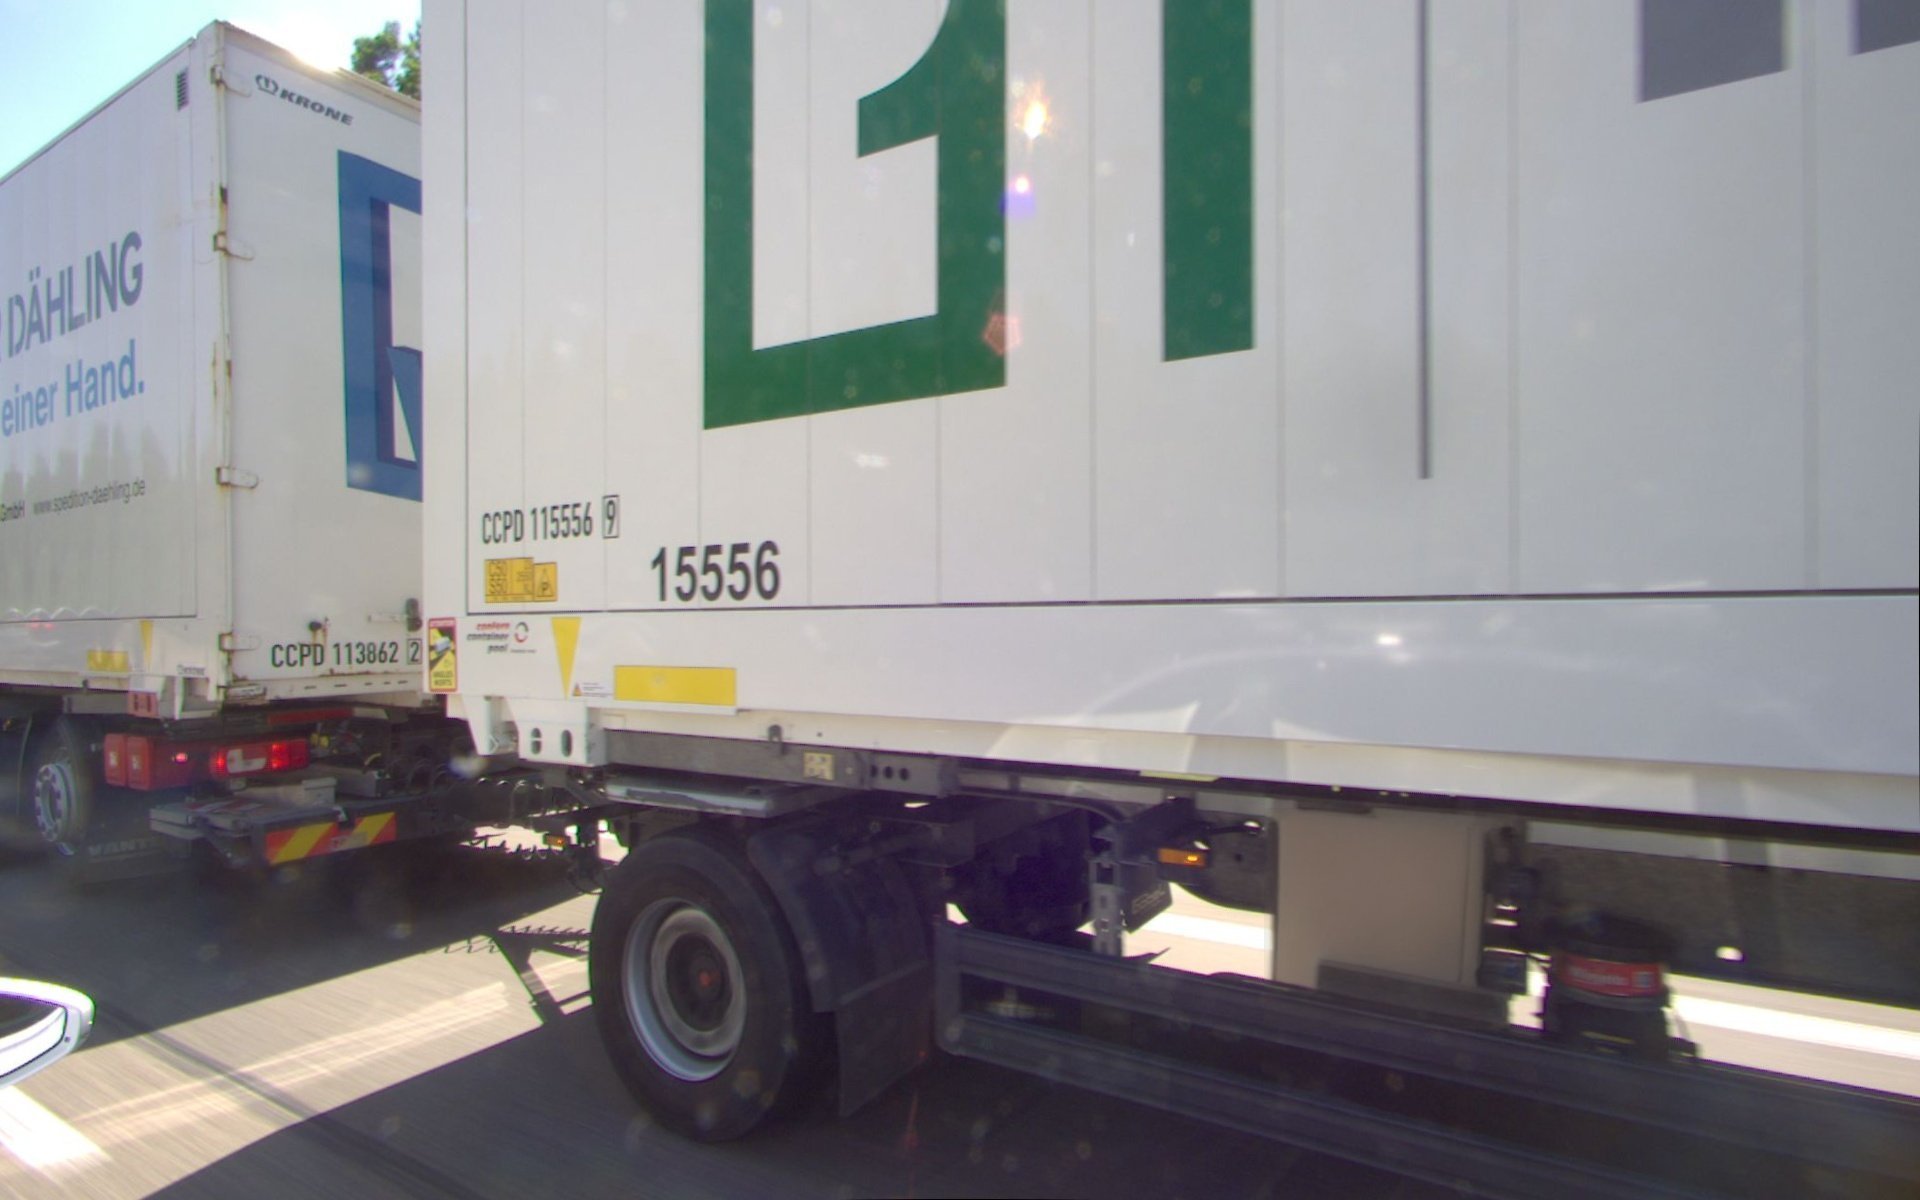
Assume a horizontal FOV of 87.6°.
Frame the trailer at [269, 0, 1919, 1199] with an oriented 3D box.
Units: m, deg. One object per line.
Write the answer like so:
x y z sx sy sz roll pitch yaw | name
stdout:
2.236 -0.622 2.405 9.919 4.230 2.675 0 -1 32 | trailer

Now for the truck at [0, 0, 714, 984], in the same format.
-6.726 -0.447 8.048 10.471 4.112 2.675 0 -1 32 | truck
